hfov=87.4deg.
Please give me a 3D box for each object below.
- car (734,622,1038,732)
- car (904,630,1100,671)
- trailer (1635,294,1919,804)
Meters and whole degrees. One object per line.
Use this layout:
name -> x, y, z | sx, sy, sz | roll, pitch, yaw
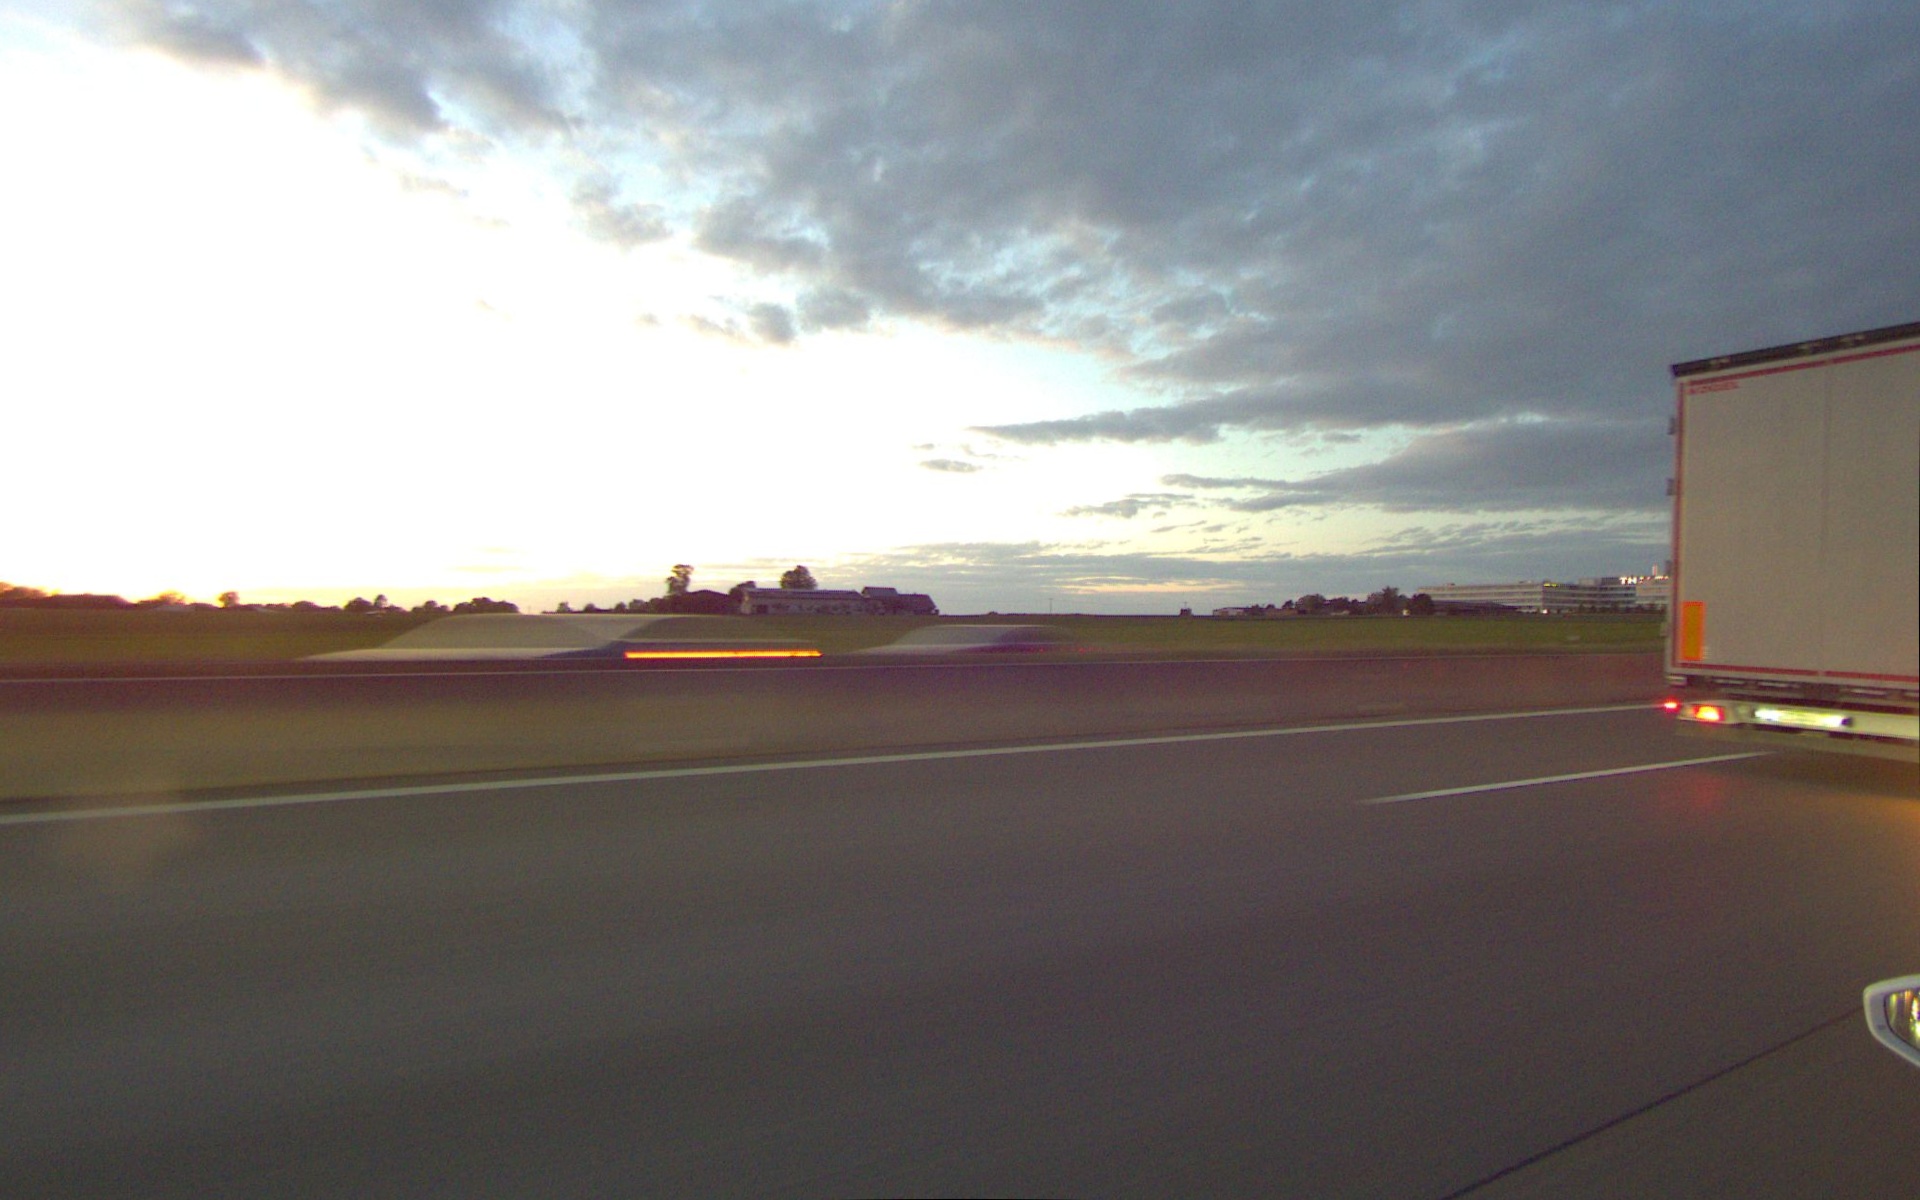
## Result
car -> -1.143, 1.201, 16.479 | 4.716, 1.543, 1.651 | 2, 0, -30
car -> 0.988, 1.118, 22.297 | 4.364, 0.805, 1.236 | 2, 0, -31
trailer -> 13.664, -0.195, 12.333 | 14.350, 4.139, 2.782 | 2, -2, -29
